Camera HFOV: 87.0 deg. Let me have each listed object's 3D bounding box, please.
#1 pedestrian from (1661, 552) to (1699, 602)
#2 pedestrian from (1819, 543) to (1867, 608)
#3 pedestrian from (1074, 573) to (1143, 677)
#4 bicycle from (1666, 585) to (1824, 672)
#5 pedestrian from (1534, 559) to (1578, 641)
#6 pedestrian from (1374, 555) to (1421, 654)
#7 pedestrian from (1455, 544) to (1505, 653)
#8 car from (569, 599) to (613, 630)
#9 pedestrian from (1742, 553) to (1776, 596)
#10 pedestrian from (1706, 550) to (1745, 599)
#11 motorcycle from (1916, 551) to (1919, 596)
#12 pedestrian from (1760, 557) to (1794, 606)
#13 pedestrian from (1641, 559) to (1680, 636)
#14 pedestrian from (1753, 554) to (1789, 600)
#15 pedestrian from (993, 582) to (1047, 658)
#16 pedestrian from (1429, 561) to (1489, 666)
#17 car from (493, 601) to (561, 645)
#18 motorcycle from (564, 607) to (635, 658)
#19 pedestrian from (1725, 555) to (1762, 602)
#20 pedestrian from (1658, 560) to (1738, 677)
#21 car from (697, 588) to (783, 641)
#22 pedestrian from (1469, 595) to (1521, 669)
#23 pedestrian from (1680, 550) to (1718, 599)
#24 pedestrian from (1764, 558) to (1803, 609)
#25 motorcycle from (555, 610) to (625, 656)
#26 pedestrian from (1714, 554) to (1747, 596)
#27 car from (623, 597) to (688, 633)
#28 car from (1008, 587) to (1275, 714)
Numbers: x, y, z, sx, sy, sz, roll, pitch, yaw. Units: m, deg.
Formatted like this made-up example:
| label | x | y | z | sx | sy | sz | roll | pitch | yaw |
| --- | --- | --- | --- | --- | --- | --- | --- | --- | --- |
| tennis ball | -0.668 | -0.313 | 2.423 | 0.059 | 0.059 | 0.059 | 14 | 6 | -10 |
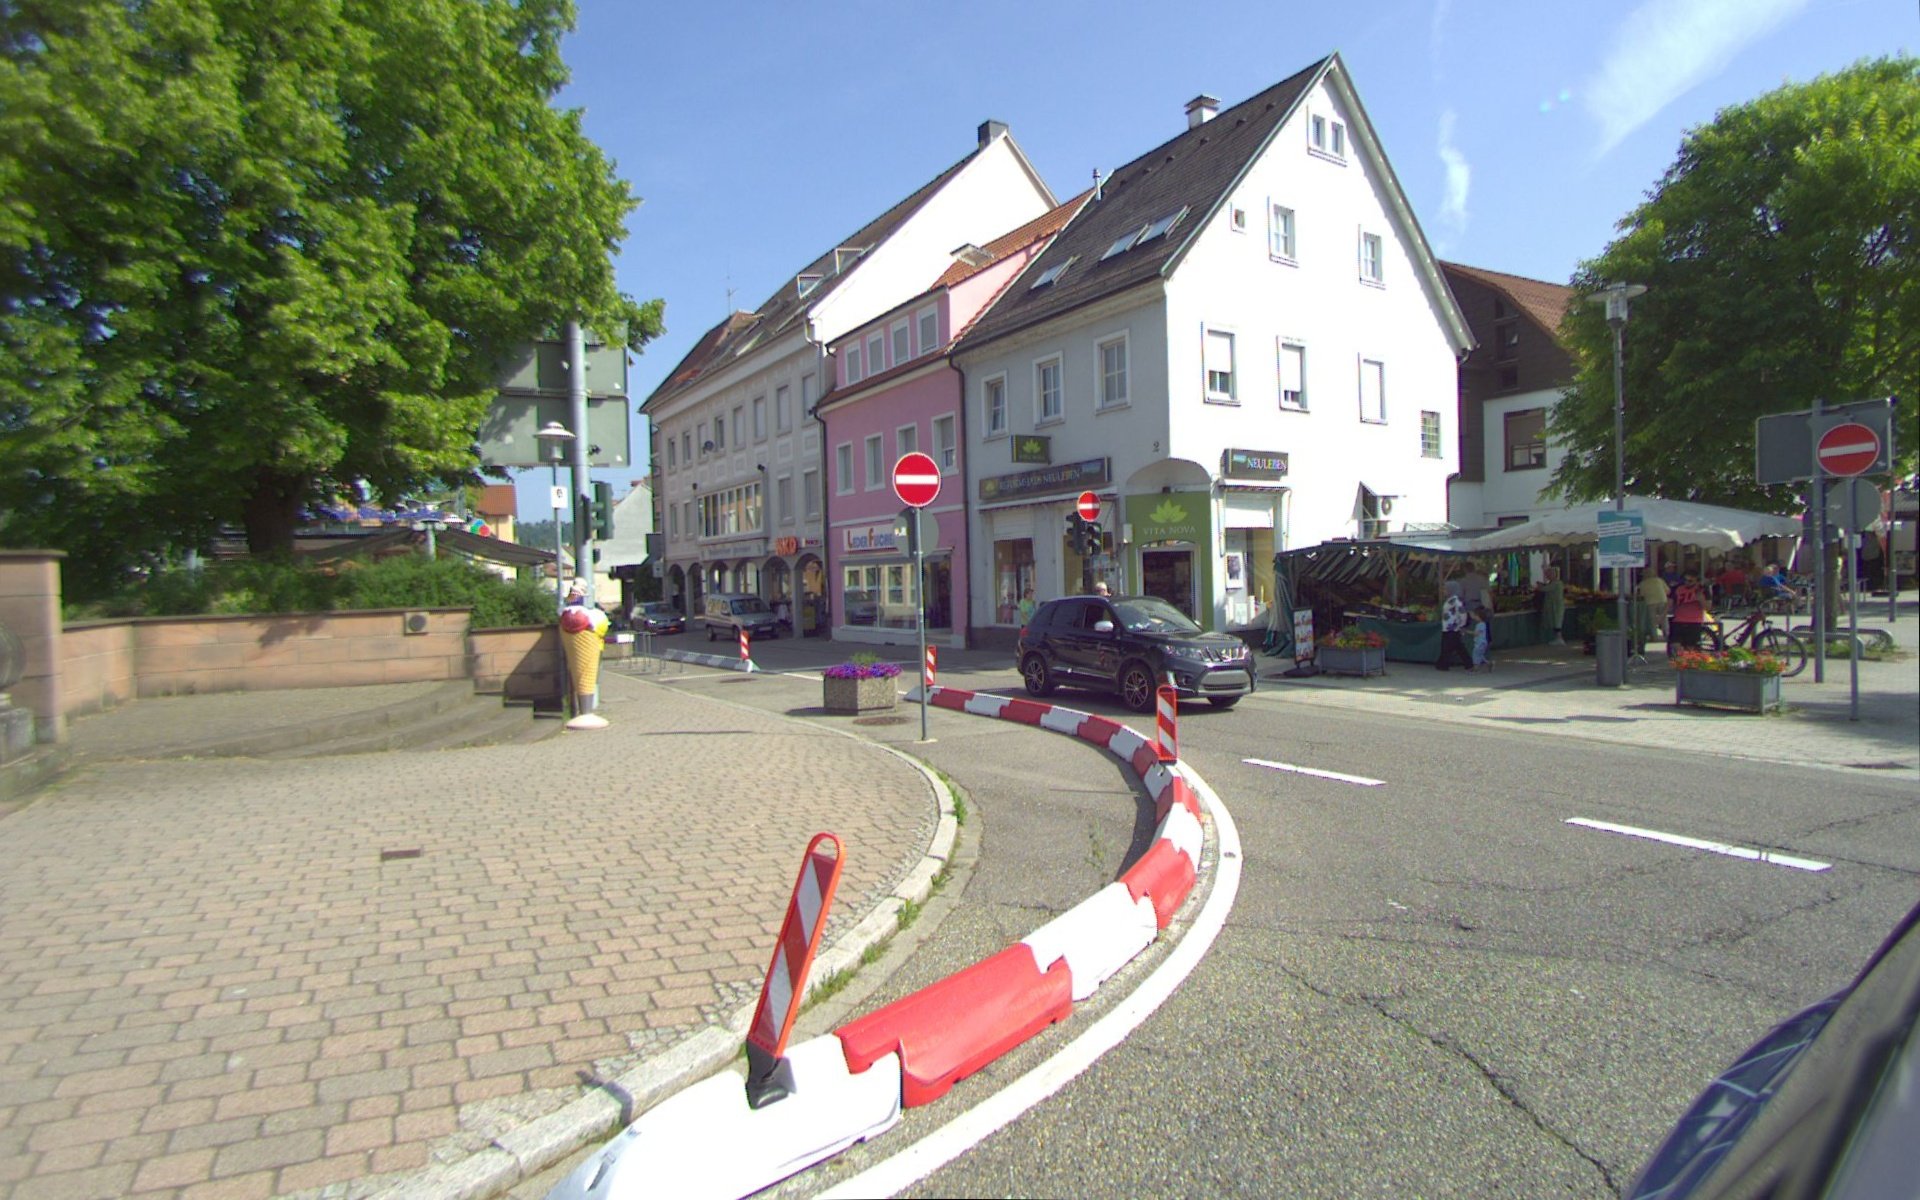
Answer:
| label | x | y | z | sx | sy | sz | roll | pitch | yaw |
| --- | --- | --- | --- | --- | --- | --- | --- | --- | --- |
| pedestrian | 20.096 | -0.661 | 28.246 | 0.685 | 1.346 | 0.628 | -3 | 4 | -28 |
| pedestrian | 21.761 | -0.614 | 24.938 | 0.560 | 1.572 | 0.701 | -3 | 3 | -25 |
| pedestrian | 2.865 | 0.471 | 19.662 | 1.001 | 1.836 | 0.909 | -6 | 3 | -3 |
| bicycle | 12.168 | 0.424 | 15.733 | 0.607 | 1.250 | 1.857 | -3 | 1 | -44 |
| pedestrian | 12.240 | -0.004 | 20.778 | 0.694 | 1.647 | 0.522 | -2 | 1 | -35 |
| pedestrian | 9.048 | 0.084 | 20.922 | 0.693 | 1.995 | 0.509 | -1 | 1 | -5 |
| pedestrian | 9.842 | -0.039 | 19.147 | 0.703 | 2.010 | 0.644 | -1 | 1 | 38 |
| car | -20.100 | 0.792 | 55.049 | 1.651 | 1.580 | 3.344 | -2 | 1 | -31 |
| pedestrian | 23.111 | -0.752 | 29.264 | 0.638 | 1.215 | 0.573 | -3 | 4 | -30 |
| pedestrian | 21.928 | -0.747 | 28.990 | 0.685 | 1.346 | 0.628 | -3 | 4 | -28 |
| motorcycle | 26.388 | -0.693 | 26.723 | 0.631 | 1.210 | 1.534 | -3 | 4 | -31 |
| pedestrian | 21.054 | -0.485 | 26.077 | 0.640 | 1.215 | 0.571 | -4 | 4 | -41 |
| pedestrian | 14.315 | -0.063 | 20.692 | 0.617 | 1.537 | 0.626 | -1 | 1 | 34 |
| pedestrian | 22.303 | -0.644 | 27.834 | 0.638 | 1.215 | 0.573 | -3 | 4 | -30 |
| pedestrian | 1.362 | 0.441 | 23.072 | 0.773 | 1.651 | 0.860 | -5 | 2 | -30 |
| pedestrian | 8.468 | 0.220 | 17.188 | 0.777 | 1.745 | 0.703 | -1 | 1 | 18 |
| car | -17.831 | 0.928 | 41.592 | 1.718 | 1.617 | 4.595 | -3 | 1 | -33 |
| motorcycle | -10.636 | 0.949 | 29.901 | 0.906 | 1.375 | 1.886 | -2 | 1 | 23 |
| pedestrian | 21.071 | -0.584 | 27.225 | 0.638 | 1.215 | 0.573 | -3 | 4 | -30 |
| pedestrian | 11.051 | 0.255 | 15.165 | 0.563 | 1.678 | 0.881 | -4 | 4 | -44 |
| car | -8.316 | 0.520 | 38.054 | 1.680 | 1.760 | 4.146 | -5 | 2 | -33 |
| pedestrian | 8.726 | 0.514 | 16.523 | 0.613 | 1.175 | 0.514 | -1 | 1 | 13 |
| pedestrian | 20.914 | -0.722 | 28.634 | 0.685 | 1.346 | 0.628 | -3 | 4 | -28 |
| pedestrian | 20.577 | -0.421 | 25.282 | 0.563 | 1.215 | 0.697 | -5 | 4 | -44 |
| motorcycle | -11.350 | 0.999 | 31.156 | 0.917 | 1.286 | 2.079 | -2 | 1 | 18 |
| pedestrian | 22.714 | -0.749 | 29.831 | 0.638 | 1.215 | 0.573 | -3 | 4 | -30 |
| car | -14.322 | 0.684 | 47.410 | 1.774 | 1.488 | 4.457 | -3 | 1 | -31 |
| car | 2.517 | 0.625 | 14.963 | 1.651 | 1.580 | 3.974 | -1 | 1 | -31 |
